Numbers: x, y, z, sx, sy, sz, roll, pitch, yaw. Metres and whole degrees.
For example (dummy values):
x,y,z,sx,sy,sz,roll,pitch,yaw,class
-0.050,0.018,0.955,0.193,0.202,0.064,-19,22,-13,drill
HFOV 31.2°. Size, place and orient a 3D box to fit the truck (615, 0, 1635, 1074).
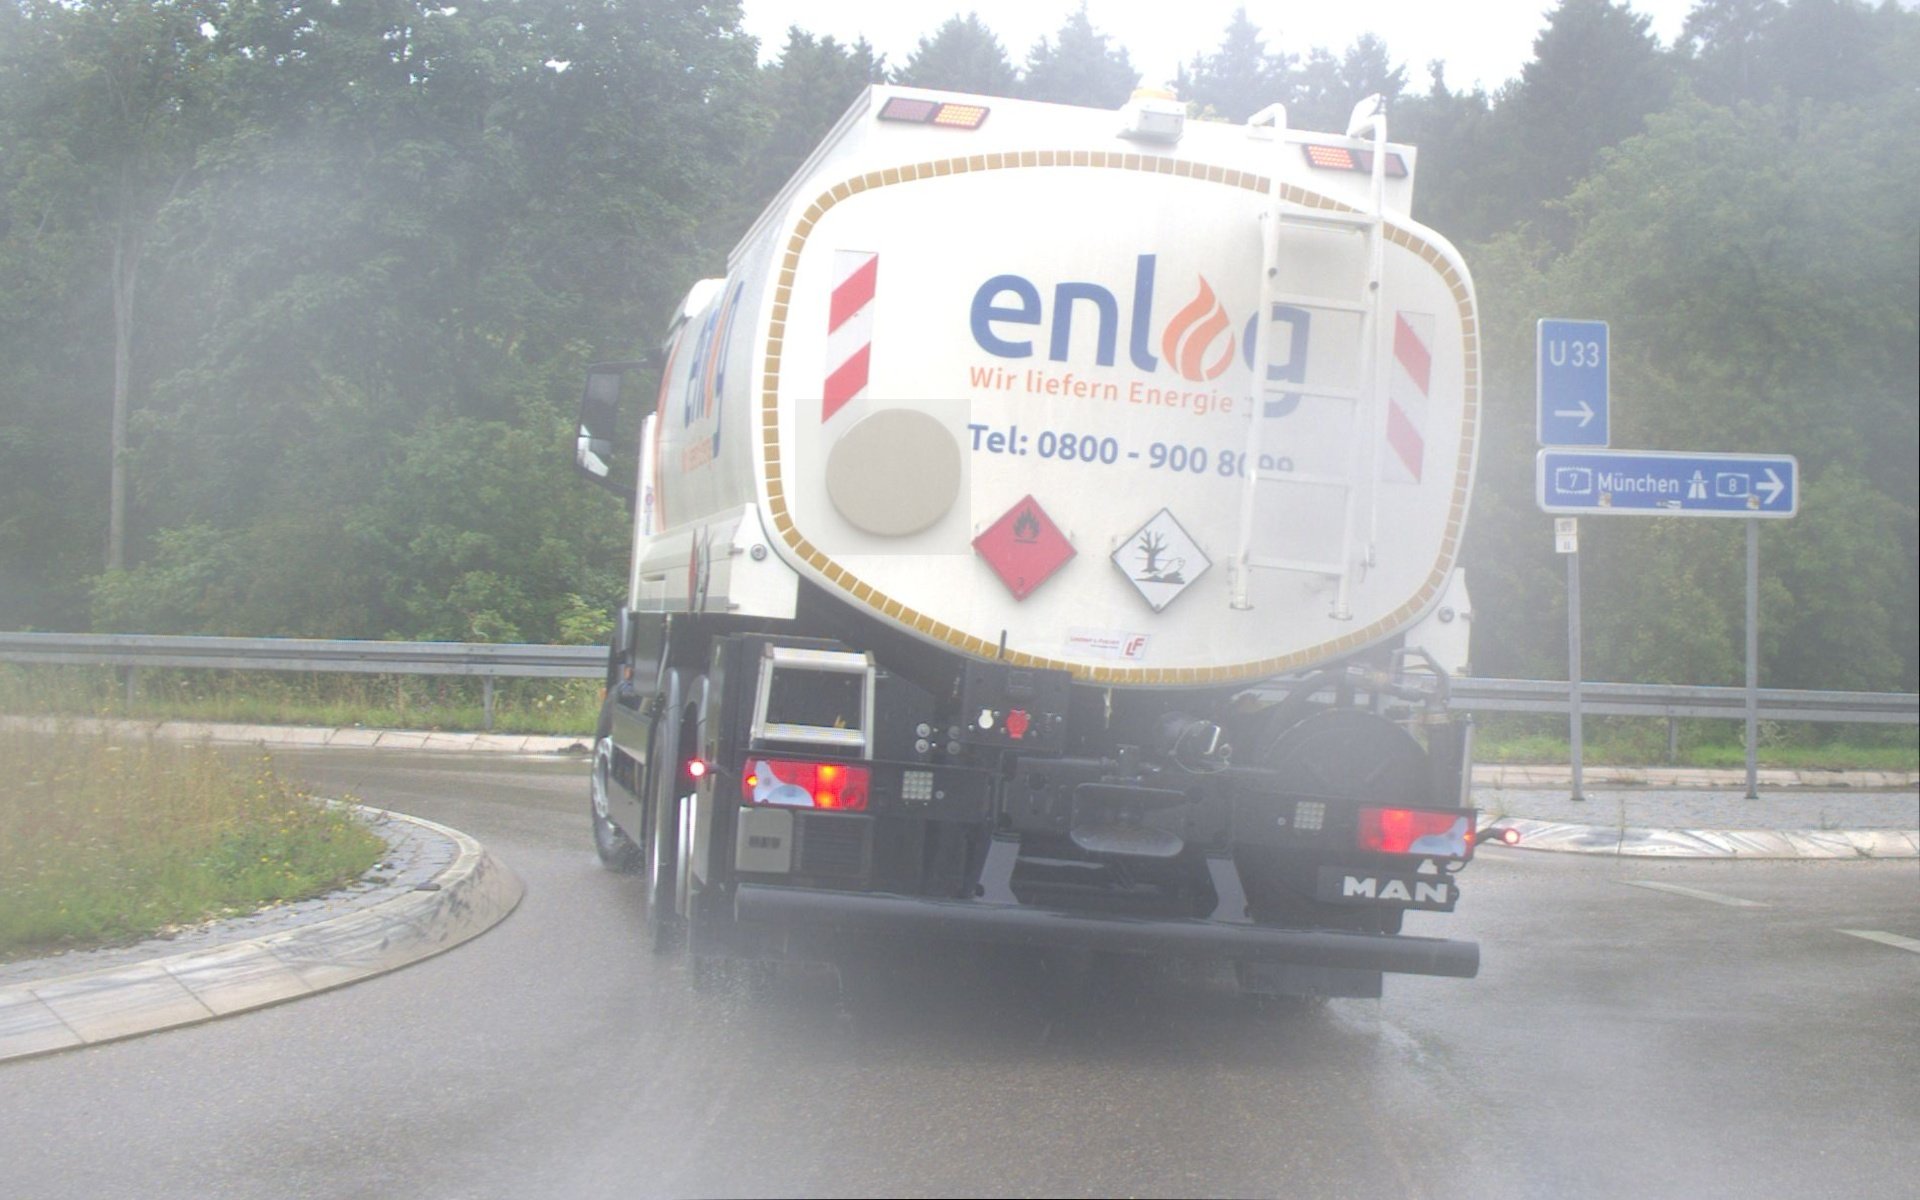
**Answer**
x,y,z,sx,sy,sz,roll,pitch,yaw,class
0.107,-0.494,15.114,3.038,3.838,8.824,2,0,-6,truck
